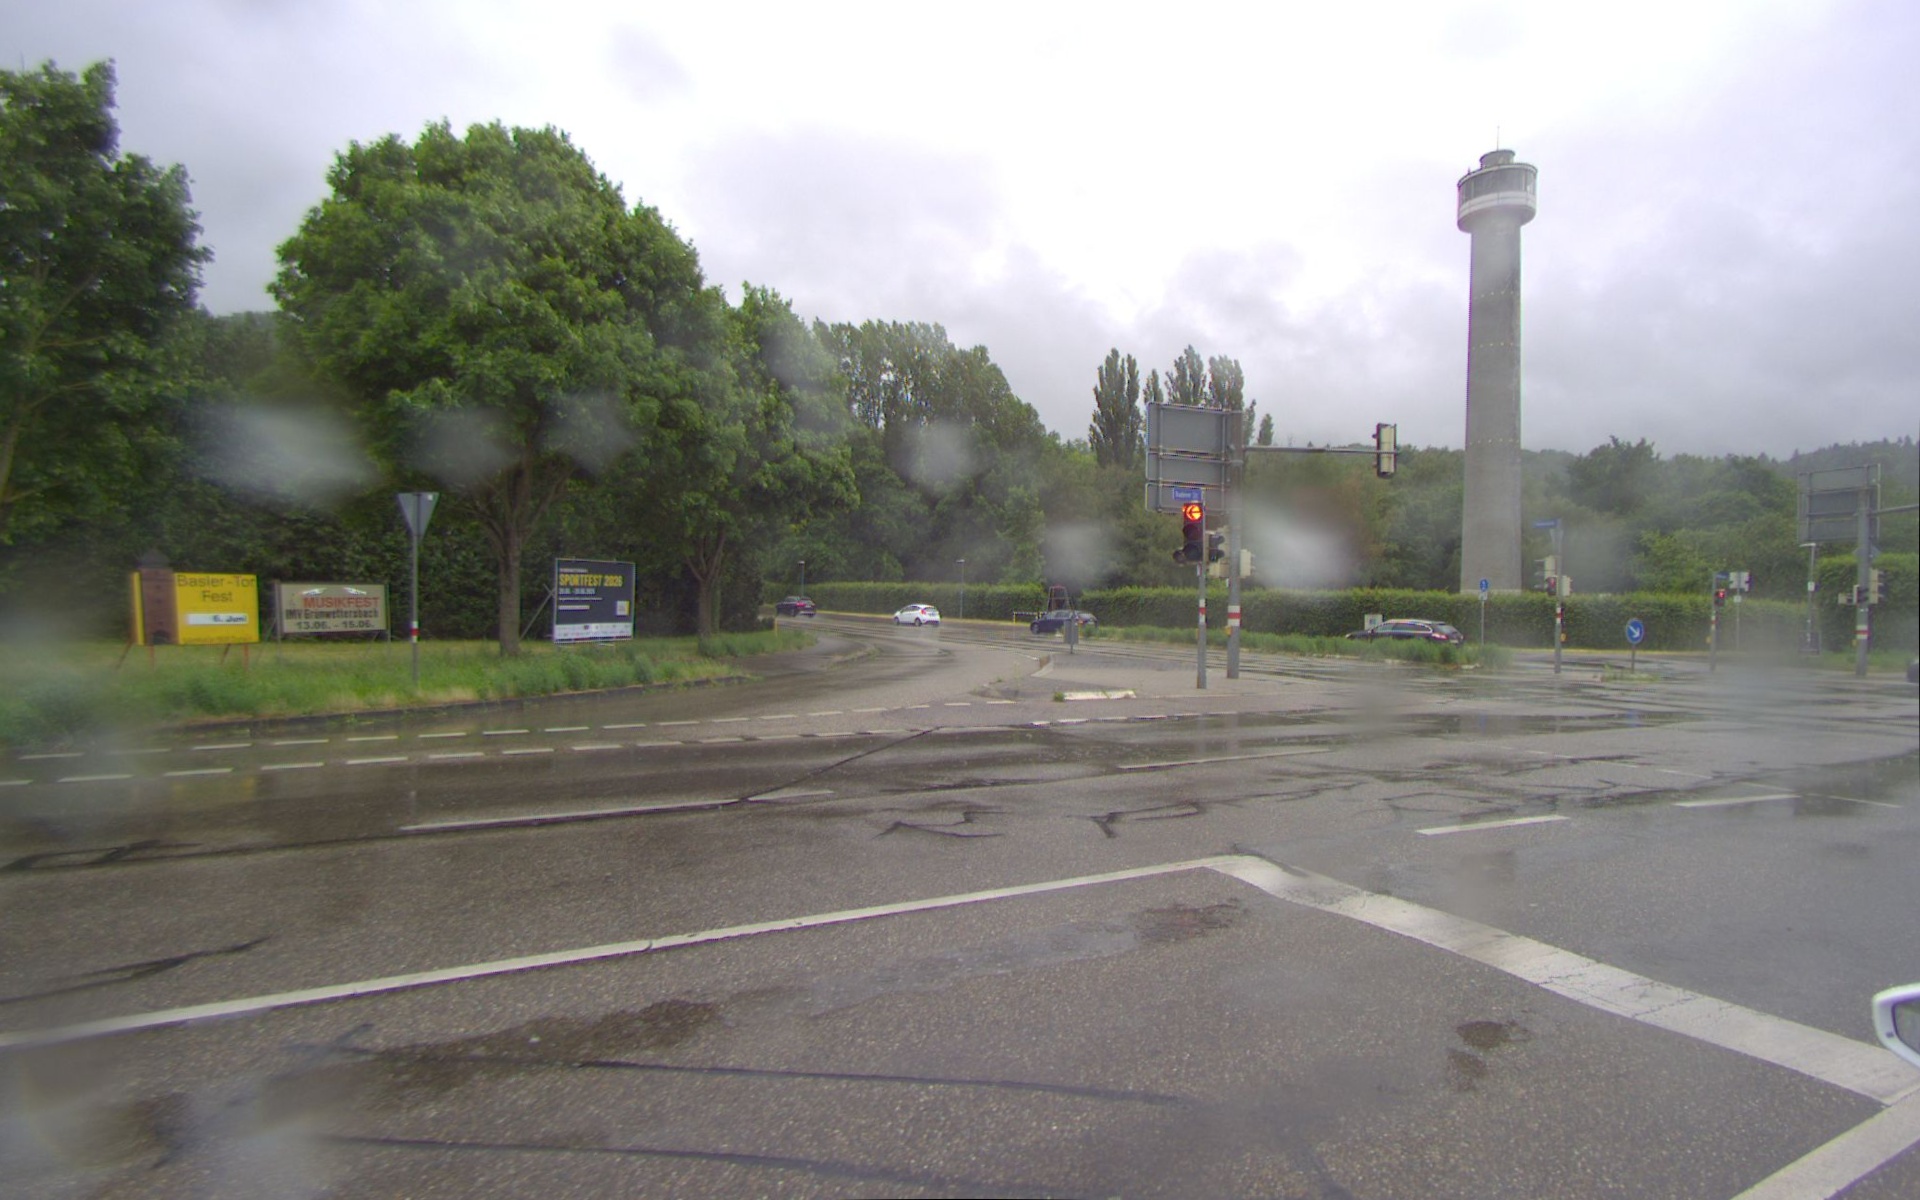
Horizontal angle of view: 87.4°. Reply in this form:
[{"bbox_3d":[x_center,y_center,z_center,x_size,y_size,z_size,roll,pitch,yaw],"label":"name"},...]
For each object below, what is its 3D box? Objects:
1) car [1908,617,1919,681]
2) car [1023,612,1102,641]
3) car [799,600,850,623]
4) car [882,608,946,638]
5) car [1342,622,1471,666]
[{"bbox_3d":[25.259,1.198,23.158,1.799,1.574,4.653,1,-1,-27],"label":"car"},{"bbox_3d":[5.810,1.474,57.199,1.806,1.574,4.634,1,-1,-38],"label":"car"},{"bbox_3d":[-10.510,0.880,77.686,1.807,1.661,4.631,1,-1,-40],"label":"car"},{"bbox_3d":[-3.183,1.559,68.660,1.900,1.941,4.629,1,-1,-41],"label":"car"},{"bbox_3d":[17.608,1.707,39.881,1.798,1.574,4.655,1,-1,-26],"label":"car"}]
